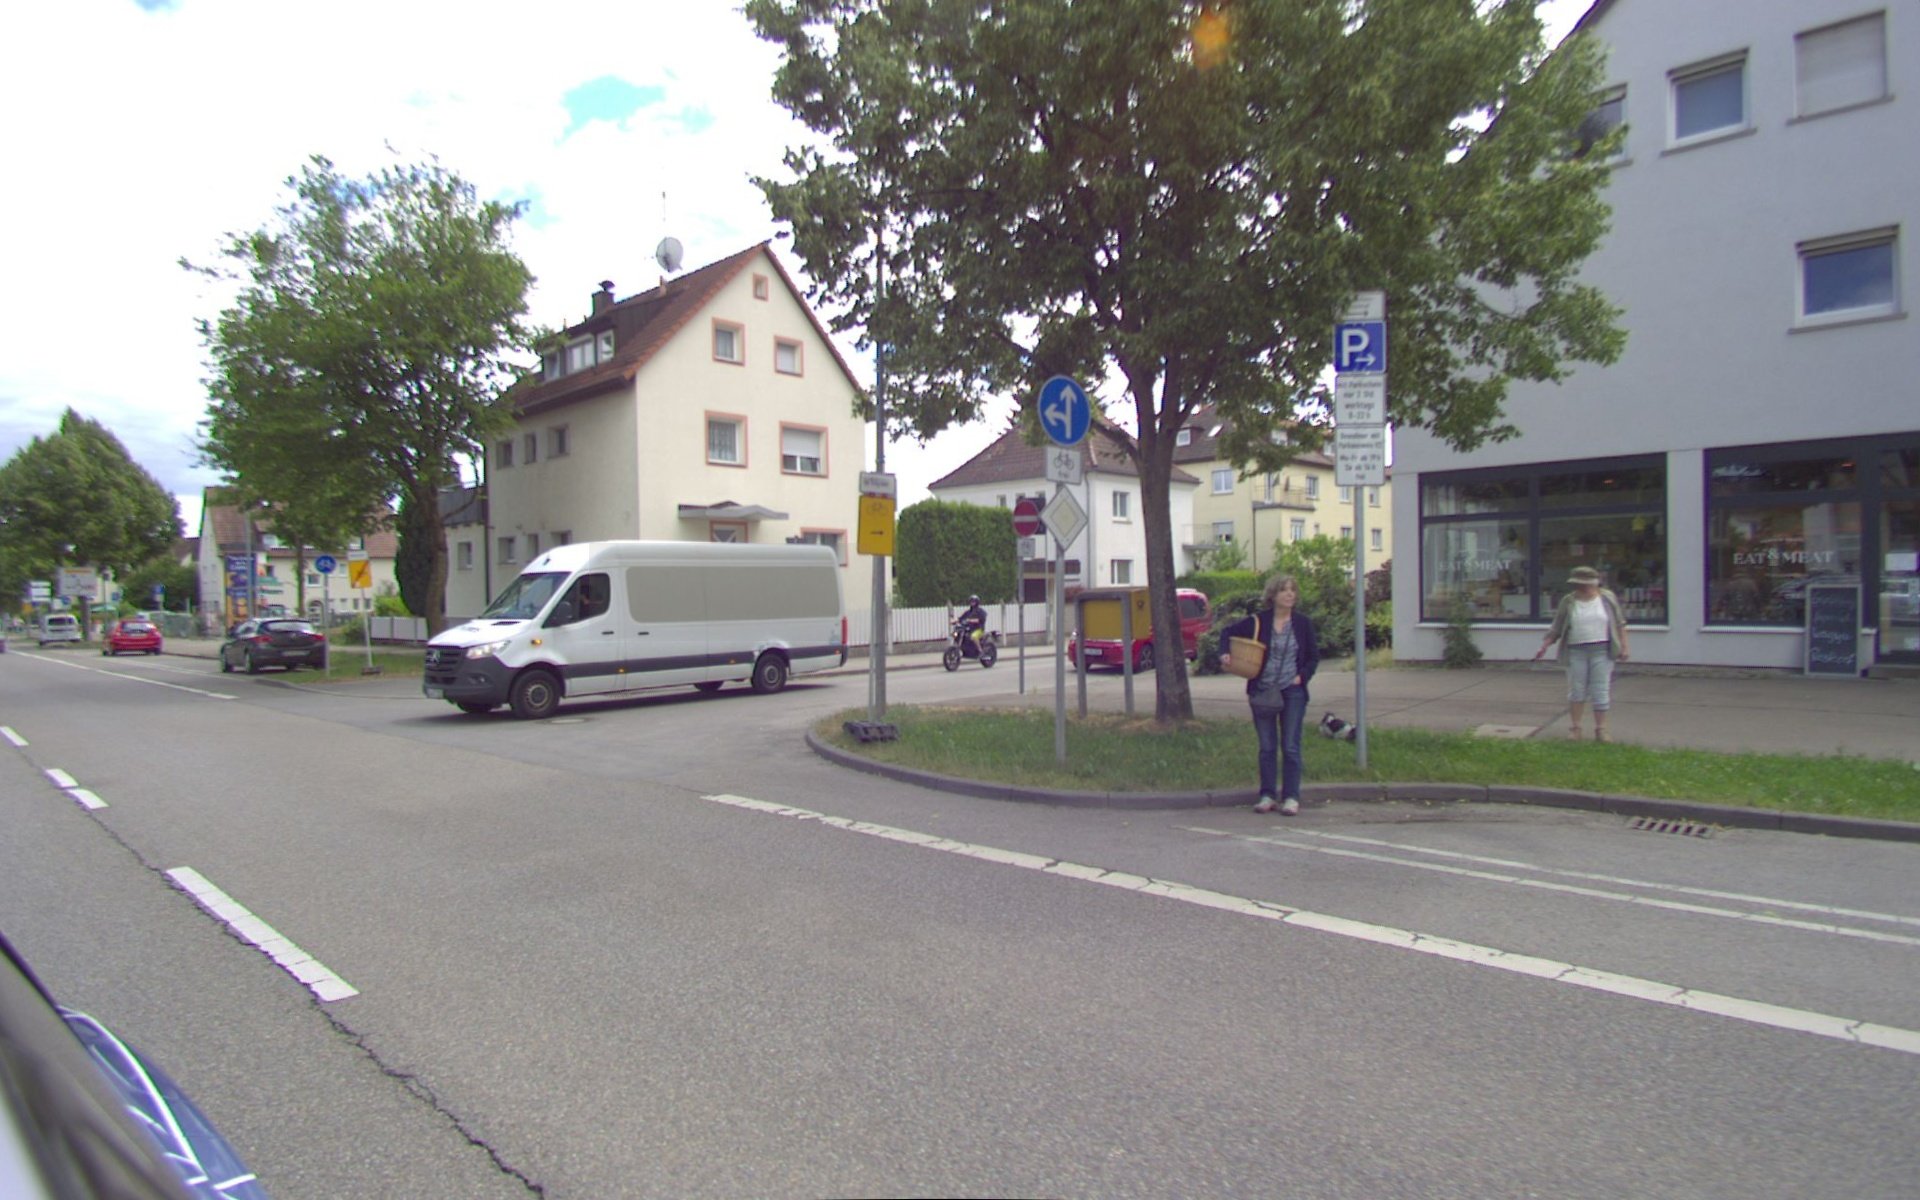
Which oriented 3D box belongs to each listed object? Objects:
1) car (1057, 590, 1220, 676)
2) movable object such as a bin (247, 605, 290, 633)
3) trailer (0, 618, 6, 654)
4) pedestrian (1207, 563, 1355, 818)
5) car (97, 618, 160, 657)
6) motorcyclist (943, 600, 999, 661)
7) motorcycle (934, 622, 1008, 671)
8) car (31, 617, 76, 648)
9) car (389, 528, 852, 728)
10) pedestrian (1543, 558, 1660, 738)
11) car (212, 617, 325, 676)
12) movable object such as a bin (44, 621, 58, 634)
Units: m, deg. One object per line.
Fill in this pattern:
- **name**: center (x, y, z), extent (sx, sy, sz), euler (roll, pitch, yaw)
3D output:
- **car**: center (4.216, 0.678, 23.361), extent (1.871, 1.791, 4.305), euler (1, 0, 39)
- **movable object such as a bin**: center (-56.520, 1.564, 82.705), extent (4.360, 2.204, 1.876), euler (-1, 0, 41)
- **trailer**: center (-47.505, 1.768, 48.729), extent (4.688, 1.689, 1.917), euler (-1, -1, 43)
- **pedestrian**: center (2.275, 0.608, 7.200), extent (0.535, 1.694, 0.751), euler (-3, 0, -39)
- **car**: center (-35.447, 1.583, 43.096), extent (4.134, 1.553, 1.666), euler (-2, -1, 45)
- **motorcyclist**: center (0.264, 0.687, 23.512), extent (0.753, 1.375, 1.095), euler (-1, -1, 41)
- **motorcycle**: center (0.283, 1.055, 23.576), extent (0.480, 1.039, 2.091), euler (-1, 0, 40)
- **car**: center (-54.687, 1.948, 61.040), extent (4.553, 1.784, 1.750), euler (-2, 0, 45)
- **car**: center (-5.135, 0.360, 16.746), extent (2.218, 2.614, 7.218), euler (-1, 0, 39)
- **pedestrian**: center (5.848, 0.418, 9.236), extent (0.806, 1.563, 0.425), euler (-1, 0, 43)
- **car**: center (-19.004, 1.228, 27.730), extent (4.302, 1.480, 1.712), euler (-2, -1, 44)
- **movable object such as a bin**: center (-104.566, 3.197, 116.442), extent (2.722, 1.427, 0.970), euler (-2, 0, 43)
